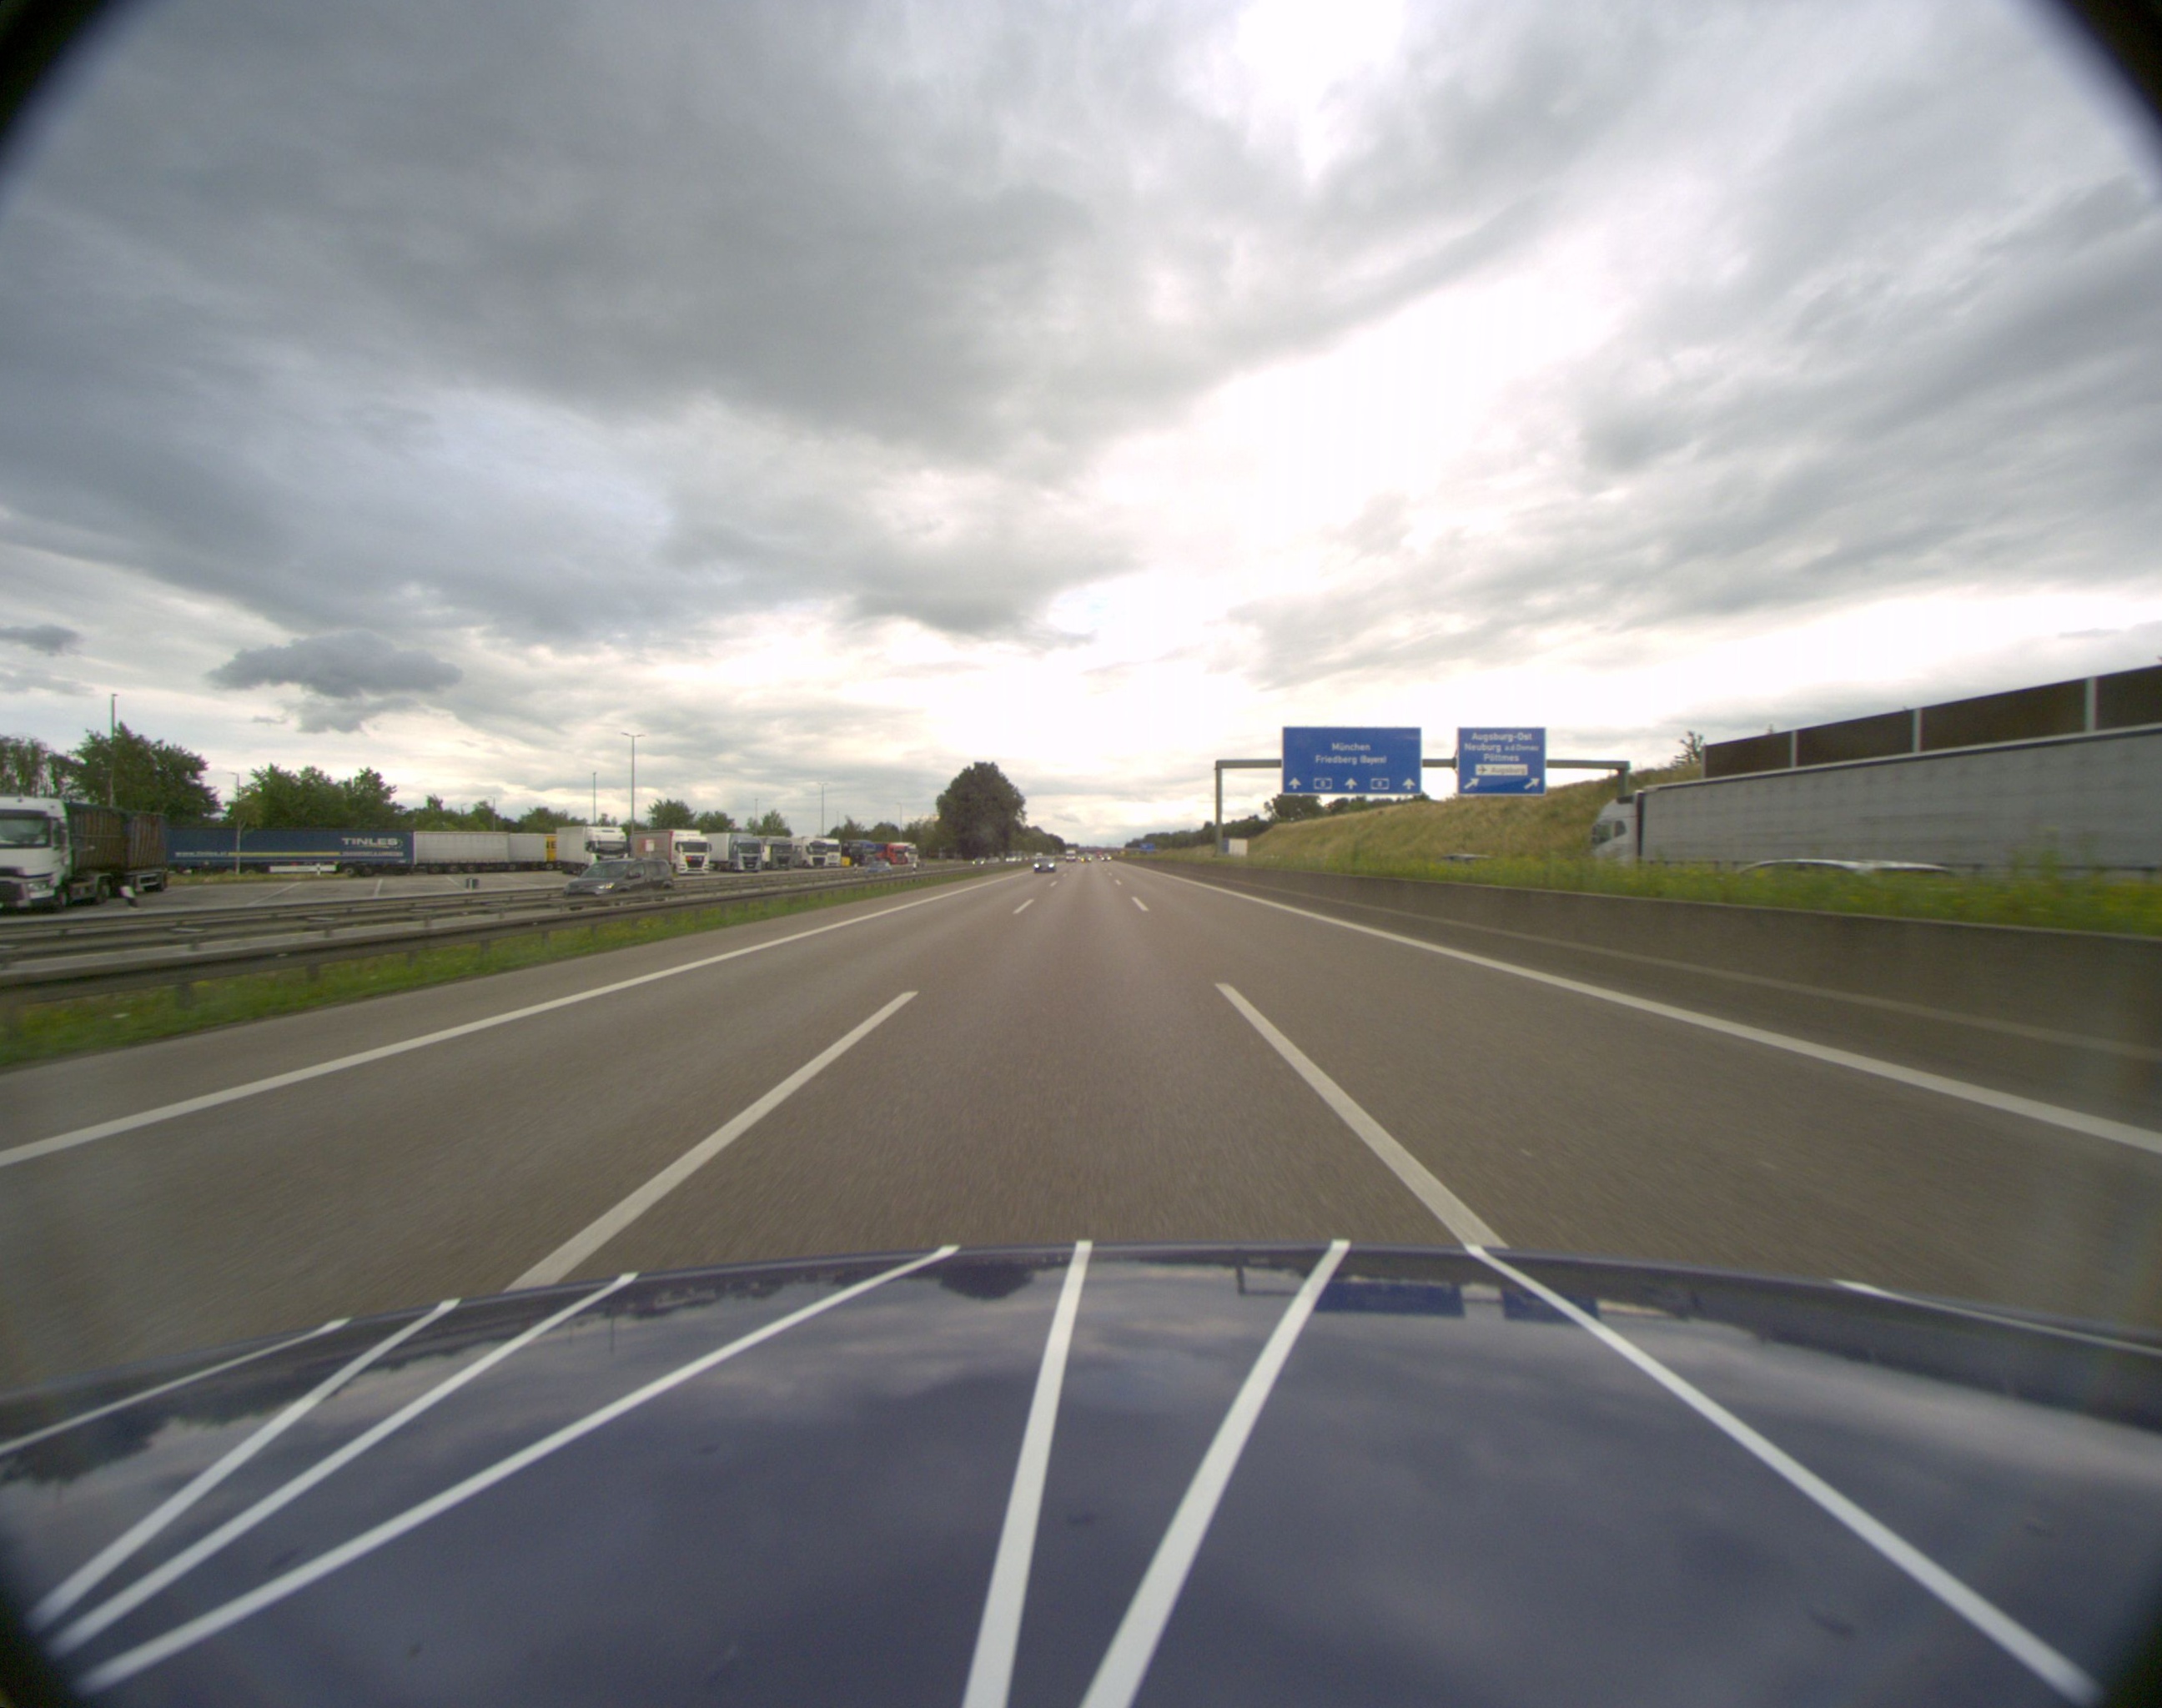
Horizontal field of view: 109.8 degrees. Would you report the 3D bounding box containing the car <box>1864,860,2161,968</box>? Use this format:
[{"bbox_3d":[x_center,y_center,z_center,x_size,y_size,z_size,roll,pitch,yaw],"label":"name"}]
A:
[{"bbox_3d":[12.666,0.672,9.761,1.684,1.052,3.430,-2,1,1],"label":"car"}]

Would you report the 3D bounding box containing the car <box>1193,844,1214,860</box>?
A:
[{"bbox_3d":[13.863,-0.212,86.181,1.717,1.686,3.706,-2,1,1],"label":"car"}]

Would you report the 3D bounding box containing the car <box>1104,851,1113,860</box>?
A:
[{"bbox_3d":[6.328,0.401,173.678,1.998,2.002,4.000,0,1,1],"label":"car"}]

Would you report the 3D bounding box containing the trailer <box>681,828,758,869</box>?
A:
[{"bbox_3d":[-39.547,-0.472,82.608,2.663,4.061,14.656,-3,1,-45],"label":"trailer"}]

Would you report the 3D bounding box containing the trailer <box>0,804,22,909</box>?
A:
[{"bbox_3d":[-41.863,0.108,26.929,2.603,4.201,11.078,-3,2,-42],"label":"trailer"}]

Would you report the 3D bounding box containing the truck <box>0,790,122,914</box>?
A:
[{"bbox_3d":[-35.504,-0.067,25.722,2.762,3.827,6.375,-1,1,-43],"label":"truck"}]

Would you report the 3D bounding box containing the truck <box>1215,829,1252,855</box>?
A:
[{"bbox_3d":[21.828,-1.622,109.231,3.267,3.582,10.934,0,0,1],"label":"truck"}]

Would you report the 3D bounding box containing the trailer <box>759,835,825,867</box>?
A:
[{"bbox_3d":[-40.053,-0.304,104.767,2.860,4.081,15.847,-3,1,-42],"label":"trailer"}]

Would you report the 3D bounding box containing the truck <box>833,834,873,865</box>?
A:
[{"bbox_3d":[-34.360,-0.652,114.431,3.174,4.531,6.069,-3,1,-43],"label":"truck"}]

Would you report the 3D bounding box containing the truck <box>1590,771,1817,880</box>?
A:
[{"bbox_3d":[20.574,-0.861,25.660,2.831,3.208,5.980,0,0,1],"label":"truck"}]

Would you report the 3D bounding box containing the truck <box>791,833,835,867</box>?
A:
[{"bbox_3d":[-34.974,-0.473,99.020,2.891,4.111,6.953,-3,1,-41],"label":"truck"}]

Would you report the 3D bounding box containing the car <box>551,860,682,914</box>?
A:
[{"bbox_3d":[-16.566,1.107,27.426,1.832,1.746,4.594,0,0,1],"label":"car"}]

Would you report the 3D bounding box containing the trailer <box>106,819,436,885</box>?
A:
[{"bbox_3d":[-59.516,-0.357,57.069,2.628,4.363,16.537,-1,1,43],"label":"trailer"}]

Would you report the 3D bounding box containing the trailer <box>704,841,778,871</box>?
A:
[{"bbox_3d":[-39.863,0.345,88.715,3.602,3.093,13.710,-3,1,-42],"label":"trailer"}]

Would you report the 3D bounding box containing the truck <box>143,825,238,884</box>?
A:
[{"bbox_3d":[-65.450,0.039,56.004,4.131,4.134,2.938,-3,1,-44],"label":"truck"}]

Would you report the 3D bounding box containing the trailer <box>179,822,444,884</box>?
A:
[{"bbox_3d":[-60.627,-0.270,60.765,14.424,4.363,2.944,-3,1,-44],"label":"trailer"}]

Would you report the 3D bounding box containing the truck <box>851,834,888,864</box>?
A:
[{"bbox_3d":[-33.505,-0.705,120.070,3.066,4.531,6.069,-3,1,-43],"label":"truck"}]

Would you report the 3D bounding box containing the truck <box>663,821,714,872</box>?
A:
[{"bbox_3d":[-34.913,-0.633,67.522,2.516,4.302,4.891,-3,1,-44],"label":"truck"}]

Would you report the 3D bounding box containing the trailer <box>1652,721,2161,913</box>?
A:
[{"bbox_3d":[20.467,-0.692,18.728,2.827,3.357,13.509,0,0,1],"label":"trailer"}]

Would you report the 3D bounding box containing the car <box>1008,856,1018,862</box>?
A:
[{"bbox_3d":[-14.593,1.036,163.389,1.828,1.236,3.878,0,0,1],"label":"car"}]

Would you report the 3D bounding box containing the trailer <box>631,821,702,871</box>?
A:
[{"bbox_3d":[-39.963,-0.619,72.907,2.482,4.370,14.105,-3,1,-43],"label":"trailer"}]

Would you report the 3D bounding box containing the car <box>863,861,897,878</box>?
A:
[{"bbox_3d":[-16.625,1.241,63.141,1.796,1.251,3.545,-2,1,1],"label":"car"}]

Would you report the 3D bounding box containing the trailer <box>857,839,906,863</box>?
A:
[{"bbox_3d":[-38.195,-0.492,145.091,2.668,4.089,14.030,-3,1,-43],"label":"trailer"}]

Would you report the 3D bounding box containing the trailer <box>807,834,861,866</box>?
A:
[{"bbox_3d":[-38.958,-0.526,119.491,3.170,4.565,12.377,-3,1,-42],"label":"trailer"}]

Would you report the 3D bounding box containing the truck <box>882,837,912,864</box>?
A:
[{"bbox_3d":[-32.309,-0.570,133.393,2.883,4.598,5.158,-3,1,-43],"label":"truck"}]

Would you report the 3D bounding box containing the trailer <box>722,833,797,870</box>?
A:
[{"bbox_3d":[-40.616,-0.197,95.515,3.536,4.110,15.536,-3,1,-42],"label":"trailer"}]

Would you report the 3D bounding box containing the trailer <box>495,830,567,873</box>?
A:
[{"bbox_3d":[-56.523,-0.304,78.196,1.994,4.270,5.648,0,1,43],"label":"trailer"}]

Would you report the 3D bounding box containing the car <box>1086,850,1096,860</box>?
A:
[{"bbox_3d":[2.007,0.168,153.151,1.998,2.002,4.000,0,1,1],"label":"car"}]

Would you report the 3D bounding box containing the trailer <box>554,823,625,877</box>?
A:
[{"bbox_3d":[-41.126,-0.217,63.269,2.618,4.051,13.507,-3,1,-42],"label":"trailer"}]

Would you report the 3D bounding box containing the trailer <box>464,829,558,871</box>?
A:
[{"bbox_3d":[-60.606,-0.457,80.966,1.994,4.270,7.755,0,1,43],"label":"trailer"}]

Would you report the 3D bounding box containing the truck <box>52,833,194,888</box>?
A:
[{"bbox_3d":[-64.708,0.374,51.539,2.650,3.419,5.642,-1,1,44],"label":"truck"}]

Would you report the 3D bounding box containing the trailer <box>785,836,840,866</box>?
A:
[{"bbox_3d":[-38.917,-0.349,109.747,2.656,4.070,13.764,-3,1,-40],"label":"trailer"}]

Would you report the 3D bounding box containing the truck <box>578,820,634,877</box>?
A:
[{"bbox_3d":[-36.282,-0.384,57.995,2.619,4.111,4.521,-3,1,-43],"label":"truck"}]

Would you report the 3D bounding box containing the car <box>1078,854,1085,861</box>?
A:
[{"bbox_3d":[0.131,1.153,239.599,1.998,2.002,4.000,-2,1,1],"label":"car"}]

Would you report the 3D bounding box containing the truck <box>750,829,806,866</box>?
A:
[{"bbox_3d":[-36.106,-0.703,90.484,3.554,4.061,7.634,-3,1,-42],"label":"truck"}]

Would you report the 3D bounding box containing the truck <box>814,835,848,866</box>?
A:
[{"bbox_3d":[-34.415,-0.484,104.456,2.701,4.032,4.785,-3,1,-40],"label":"truck"}]

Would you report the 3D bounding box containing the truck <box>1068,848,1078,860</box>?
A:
[{"bbox_3d":[-1.790,-0.118,166.313,1.998,2.482,5.869,-2,1,1],"label":"truck"}]

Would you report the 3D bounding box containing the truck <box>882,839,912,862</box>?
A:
[{"bbox_3d":[-34.012,-0.627,140.526,2.674,4.124,5.914,-3,1,-42],"label":"truck"}]

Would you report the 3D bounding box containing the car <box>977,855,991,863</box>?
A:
[{"bbox_3d":[-15.059,0.742,118.008,1.465,1.208,4.000,0,0,1],"label":"car"}]

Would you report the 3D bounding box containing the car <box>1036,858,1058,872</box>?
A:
[{"bbox_3d":[-3.107,0.992,69.764,1.781,1.180,4.000,0,0,1],"label":"car"}]

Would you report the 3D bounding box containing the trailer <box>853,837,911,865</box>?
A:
[{"bbox_3d":[-36.239,-0.460,137.632,2.869,4.651,15.768,-3,1,-43],"label":"trailer"}]

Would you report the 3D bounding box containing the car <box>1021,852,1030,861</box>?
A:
[{"bbox_3d":[-12.809,0.503,175.852,1.606,2.002,4.000,-2,1,1],"label":"car"}]

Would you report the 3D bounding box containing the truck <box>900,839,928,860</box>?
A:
[{"bbox_3d":[-33.735,-0.866,153.289,2.831,4.037,6.432,-3,1,-38],"label":"truck"}]

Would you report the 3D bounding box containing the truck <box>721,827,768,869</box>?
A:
[{"bbox_3d":[-34.219,-0.616,77.221,2.646,4.107,4.782,-3,1,-45],"label":"truck"}]

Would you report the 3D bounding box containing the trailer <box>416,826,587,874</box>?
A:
[{"bbox_3d":[-55.747,-0.323,73.667,2.623,4.256,12.906,-1,-1,44],"label":"trailer"}]

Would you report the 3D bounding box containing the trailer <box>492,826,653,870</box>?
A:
[{"bbox_3d":[-58.467,-0.857,88.003,15.079,4.615,2.866,-3,1,-44],"label":"trailer"}]

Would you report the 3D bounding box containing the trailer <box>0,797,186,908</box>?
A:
[{"bbox_3d":[-40.789,-0.036,31.603,2.753,3.819,13.171,-1,1,-42],"label":"trailer"}]

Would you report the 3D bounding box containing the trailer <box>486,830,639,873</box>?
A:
[{"bbox_3d":[-62.061,-0.438,91.514,14.684,4.615,3.150,-3,1,-44],"label":"trailer"}]
